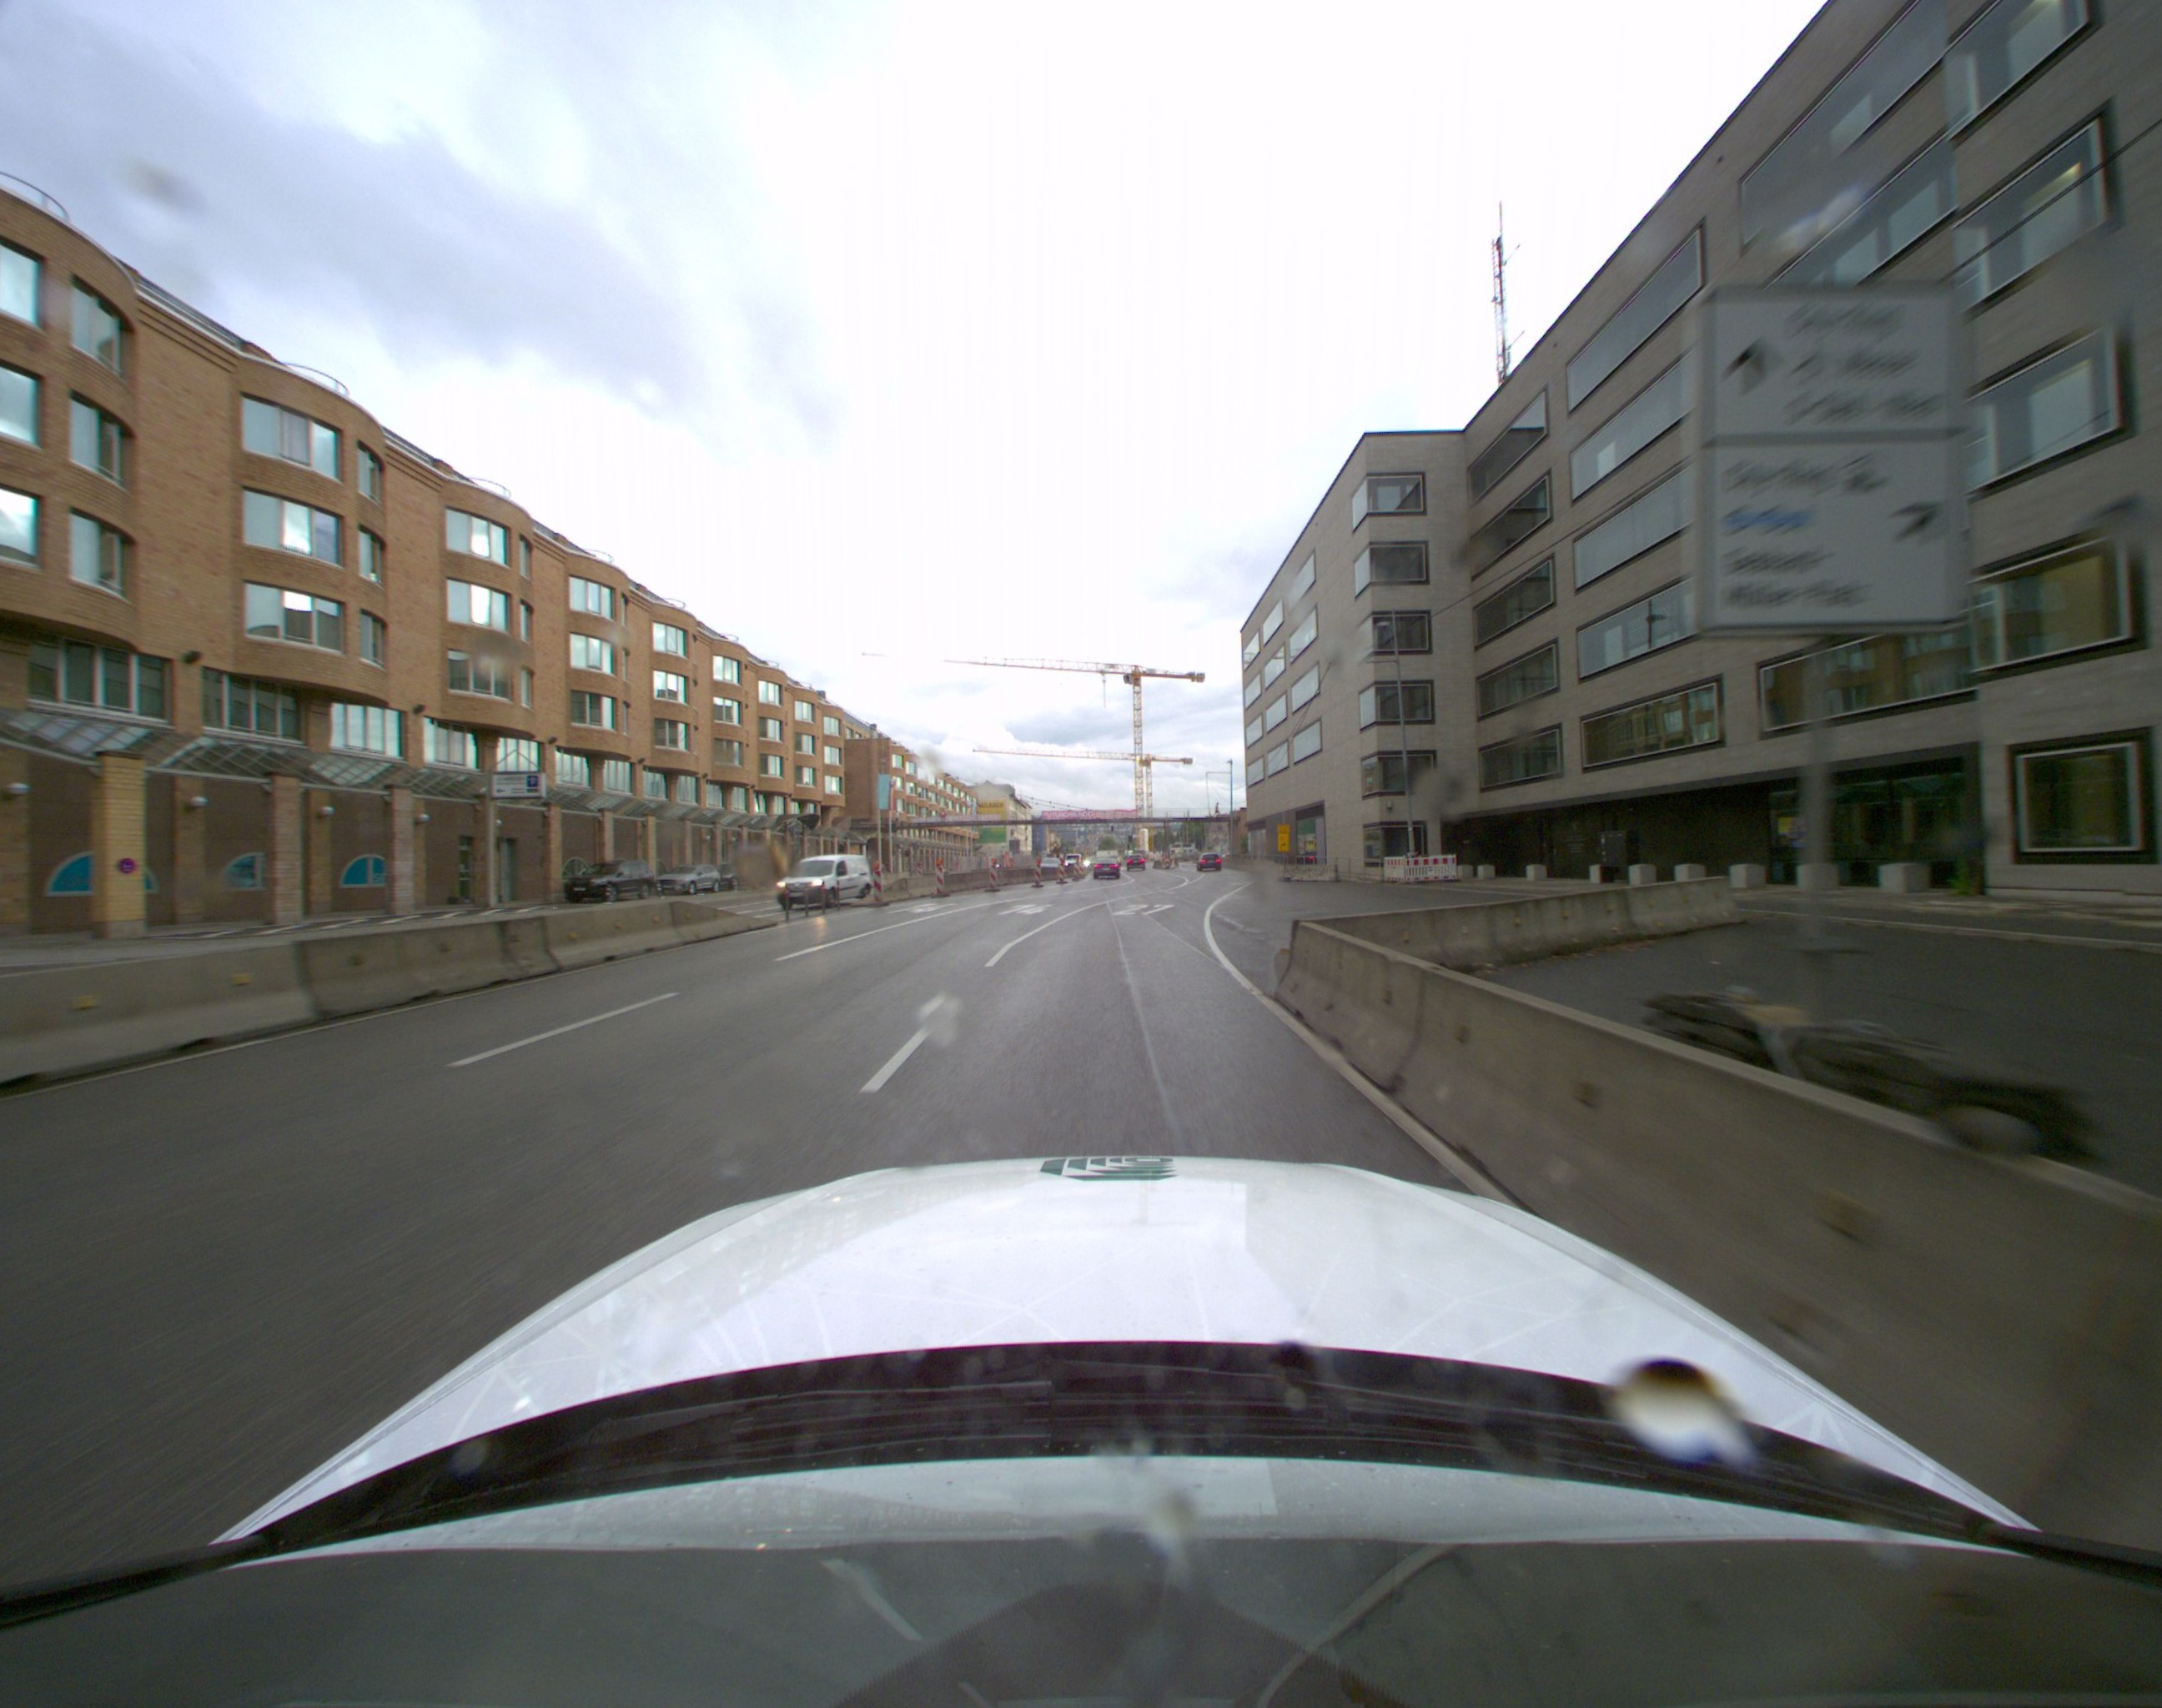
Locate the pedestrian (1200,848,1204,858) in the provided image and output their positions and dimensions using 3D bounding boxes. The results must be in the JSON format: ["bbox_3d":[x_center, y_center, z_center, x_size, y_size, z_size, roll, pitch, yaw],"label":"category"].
[{"bbox_3d":[24.144,-0.139,162.350,0.622,2.013,0.666,-2,0,14],"label":"pedestrian"}]

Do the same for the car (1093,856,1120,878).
[{"bbox_3d":[1.837,0.898,57.527,1.855,1.443,4.659,-1,0,3],"label":"car"}]

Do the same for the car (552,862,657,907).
[{"bbox_3d":[-22.122,1.351,38.091,1.988,1.886,5.012,-1,0,-1],"label":"car"}]

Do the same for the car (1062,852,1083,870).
[{"bbox_3d":[-0.908,0.748,91.889,1.985,1.885,4.874,-1,0,3],"label":"car"}]

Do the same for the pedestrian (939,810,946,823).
[{"bbox_3d":[-16.200,-4.388,95.081,0.617,1.452,0.619,-3,0,5],"label":"pedestrian"}]

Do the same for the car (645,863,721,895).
[{"bbox_3d":[-21.967,1.356,45.200,1.988,1.594,4.538,-2,0,-1],"label":"car"}]

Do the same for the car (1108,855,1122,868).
[{"bbox_3d":[4.722,1.005,113.713,1.856,1.765,4.656,-1,0,1],"label":"car"}]

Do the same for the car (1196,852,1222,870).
[{"bbox_3d":[10.468,0.565,66.850,1.854,1.433,4.663,-1,0,6],"label":"car"}]

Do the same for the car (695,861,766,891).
[{"bbox_3d":[-21.871,1.349,51.106,1.985,1.690,5.054,-2,0,3],"label":"car"}]

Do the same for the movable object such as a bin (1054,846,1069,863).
[{"bbox_3d":[-2.833,0.045,120.923,2.021,2.277,4.290,-5,-1,-1],"label":"movable object such as a bin"}]

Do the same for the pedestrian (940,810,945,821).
[{"bbox_3d":[-16.148,-4.479,95.076,0.473,1.194,0.485,-3,0,5],"label":"pedestrian"}]

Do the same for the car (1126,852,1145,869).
[{"bbox_3d":[5.547,0.693,83.584,1.855,1.660,4.661,-1,0,4],"label":"car"}]

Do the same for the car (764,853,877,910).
[{"bbox_3d":[-9.032,0.888,28.721,1.876,1.783,4.886,-1,0,7],"label":"car"}]
